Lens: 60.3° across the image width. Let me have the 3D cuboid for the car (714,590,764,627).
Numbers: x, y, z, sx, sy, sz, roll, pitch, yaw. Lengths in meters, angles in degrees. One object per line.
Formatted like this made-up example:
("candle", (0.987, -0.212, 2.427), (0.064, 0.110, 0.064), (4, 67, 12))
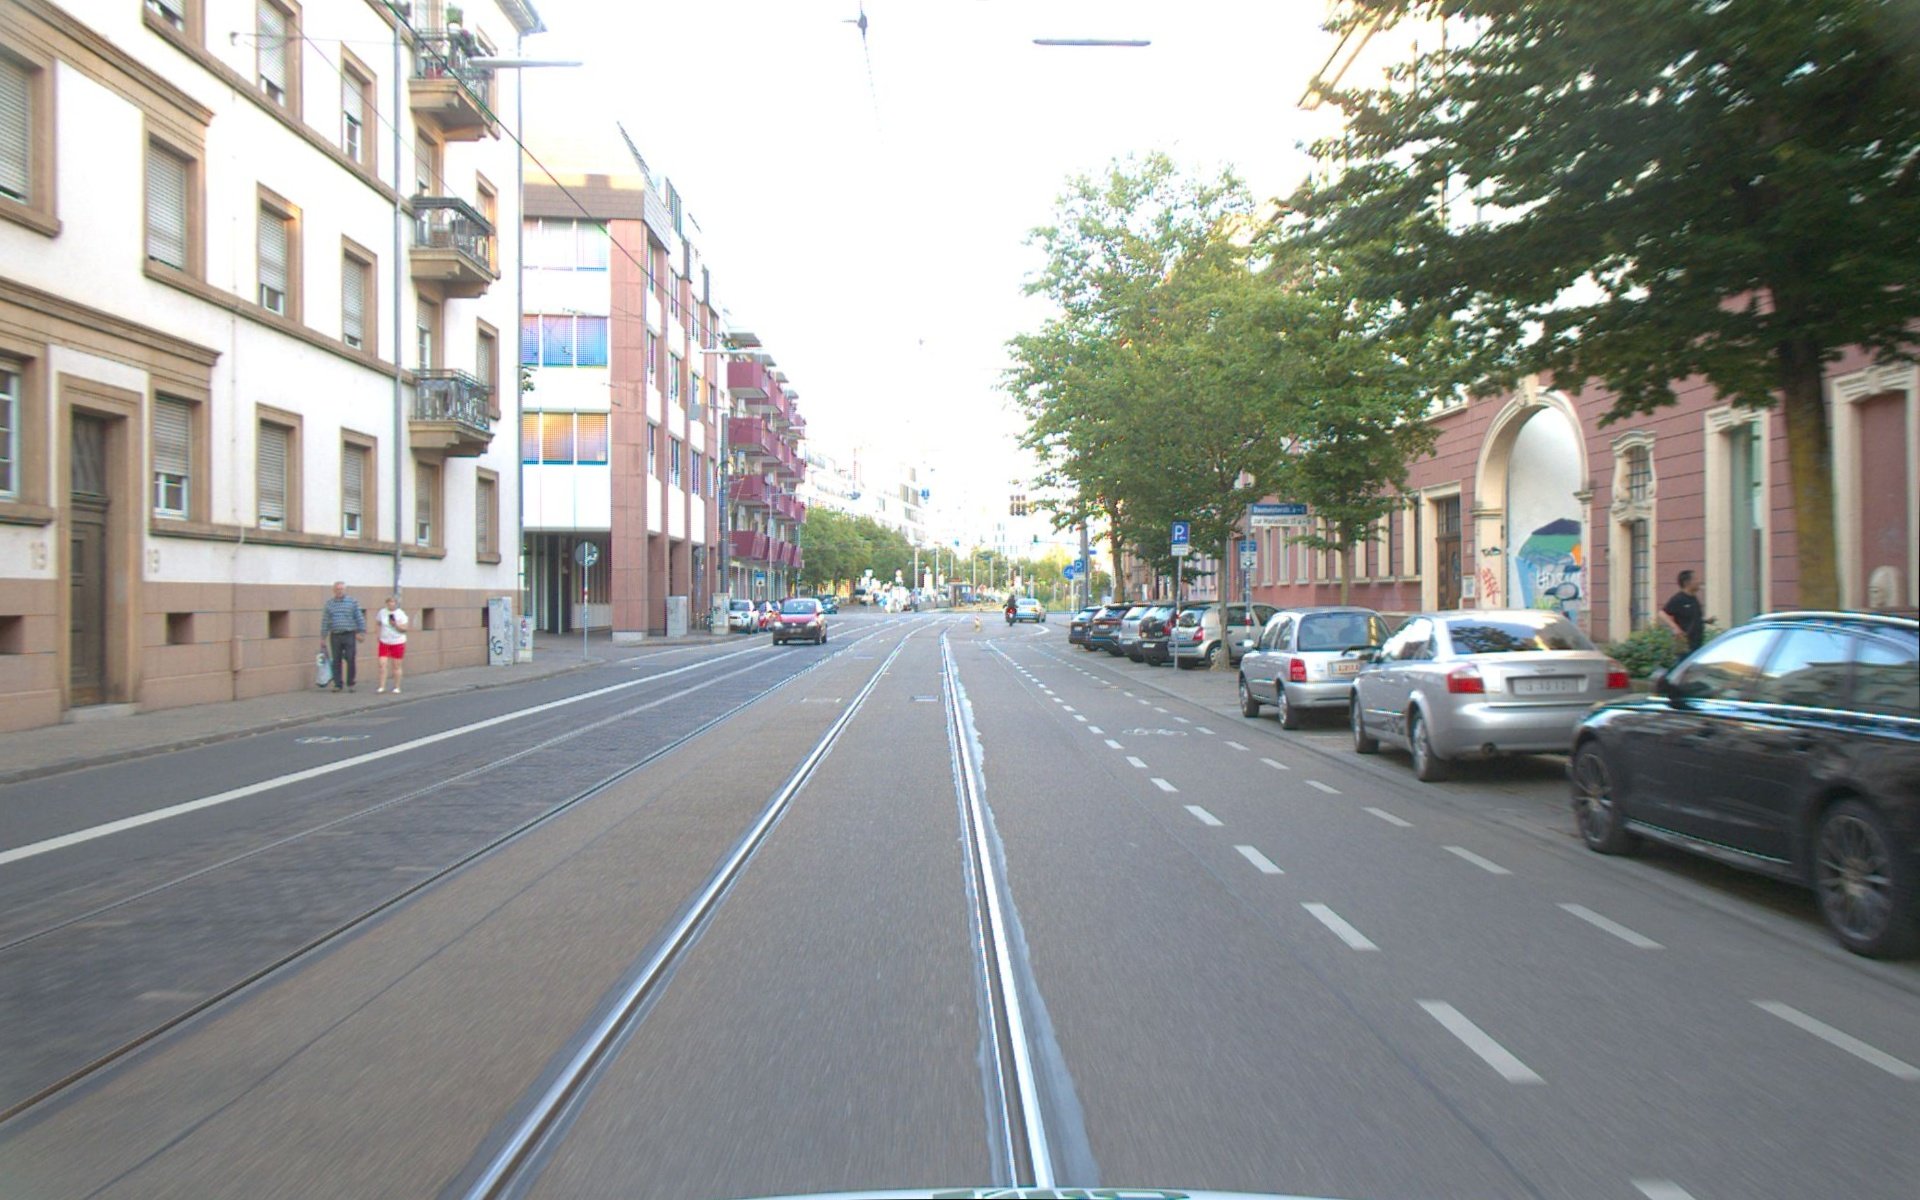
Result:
("car", (-9.977, 0.359, 74.955), (1.682, 1.583, 4.203), (1, 0, 0))

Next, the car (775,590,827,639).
("car", (-5.433, 0.457, 56.882), (1.528, 1.585, 3.753), (-2, 0, -2))

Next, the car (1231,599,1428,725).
("car", (4.623, 0.719, 21.213), (1.586, 1.405, 3.775), (-2, 0, -1))

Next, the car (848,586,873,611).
("car", (-13.186, -0.200, 219.969), (2.154, 3.207, 6.147), (0, 0, 7))

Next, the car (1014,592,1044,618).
("car", (4.382, 0.306, 105.797), (1.682, 1.583, 4.203), (1, 0, -1))

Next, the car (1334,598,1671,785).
("car", (4.832, 0.726, 15.468), (1.743, 1.405, 4.692), (-2, 0, 2))

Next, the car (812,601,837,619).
("car", (-13.809, 1.008, 168.322), (1.647, 1.729, 4.242), (0, 0, 8))

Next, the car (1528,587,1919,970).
("car", (4.802, 0.704, 8.554), (1.953, 1.515, 5.035), (-1, 0, 0))

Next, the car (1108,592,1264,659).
("car", (5.644, 0.605, 41.362), (3.512, 1.543, 1.729), (-1, 0, -26))

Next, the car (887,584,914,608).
("car", (-6.594, -0.447, 183.789), (2.409, 2.526, 5.810), (0, 0, 3))

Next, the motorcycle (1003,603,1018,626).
("motorcycle", (2.818, 0.814, 92.750), (0.811, 1.261, 2.492), (0, 0, 2))

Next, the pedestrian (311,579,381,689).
("pedestrian", (-9.818, 0.533, 26.470), (0.779, 1.731, 0.981), (0, 0, -3))

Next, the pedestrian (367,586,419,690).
("pedestrian", (-9.085, 0.602, 26.503), (0.579, 1.638, 0.811), (0, 0, -3))

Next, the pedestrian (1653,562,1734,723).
("pedestrian", (8.557, 0.484, 19.313), (0.666, 1.848, 0.600), (0, 0, -1))

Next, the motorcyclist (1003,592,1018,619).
("motorcyclist", (2.820, 0.319, 92.882), (0.811, 1.499, 1.207), (0, 0, 2))

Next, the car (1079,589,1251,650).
("car", (5.768, 0.529, 46.468), (4.386, 1.543, 2.048), (-1, 0, -24))

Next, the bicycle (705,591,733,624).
("bicycle", (-10.265, 0.316, 70.448), (0.595, 1.402, 2.260), (0, 0, 7))

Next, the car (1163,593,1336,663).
("car", (6.380, 0.617, 36.509), (3.431, 1.454, 1.611), (-1, -2, -20))

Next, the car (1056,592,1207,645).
("car", (5.461, 0.567, 52.539), (4.547, 1.482, 1.697), (-2, 1, -26))

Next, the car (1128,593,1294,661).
("car", (5.862, 0.607, 38.595), (3.512, 1.454, 1.655), (-1, 0, -26))

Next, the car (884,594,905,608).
("car", (-6.988, 0.083, 177.859), (1.647, 1.464, 4.129), (0, 0, 6))
